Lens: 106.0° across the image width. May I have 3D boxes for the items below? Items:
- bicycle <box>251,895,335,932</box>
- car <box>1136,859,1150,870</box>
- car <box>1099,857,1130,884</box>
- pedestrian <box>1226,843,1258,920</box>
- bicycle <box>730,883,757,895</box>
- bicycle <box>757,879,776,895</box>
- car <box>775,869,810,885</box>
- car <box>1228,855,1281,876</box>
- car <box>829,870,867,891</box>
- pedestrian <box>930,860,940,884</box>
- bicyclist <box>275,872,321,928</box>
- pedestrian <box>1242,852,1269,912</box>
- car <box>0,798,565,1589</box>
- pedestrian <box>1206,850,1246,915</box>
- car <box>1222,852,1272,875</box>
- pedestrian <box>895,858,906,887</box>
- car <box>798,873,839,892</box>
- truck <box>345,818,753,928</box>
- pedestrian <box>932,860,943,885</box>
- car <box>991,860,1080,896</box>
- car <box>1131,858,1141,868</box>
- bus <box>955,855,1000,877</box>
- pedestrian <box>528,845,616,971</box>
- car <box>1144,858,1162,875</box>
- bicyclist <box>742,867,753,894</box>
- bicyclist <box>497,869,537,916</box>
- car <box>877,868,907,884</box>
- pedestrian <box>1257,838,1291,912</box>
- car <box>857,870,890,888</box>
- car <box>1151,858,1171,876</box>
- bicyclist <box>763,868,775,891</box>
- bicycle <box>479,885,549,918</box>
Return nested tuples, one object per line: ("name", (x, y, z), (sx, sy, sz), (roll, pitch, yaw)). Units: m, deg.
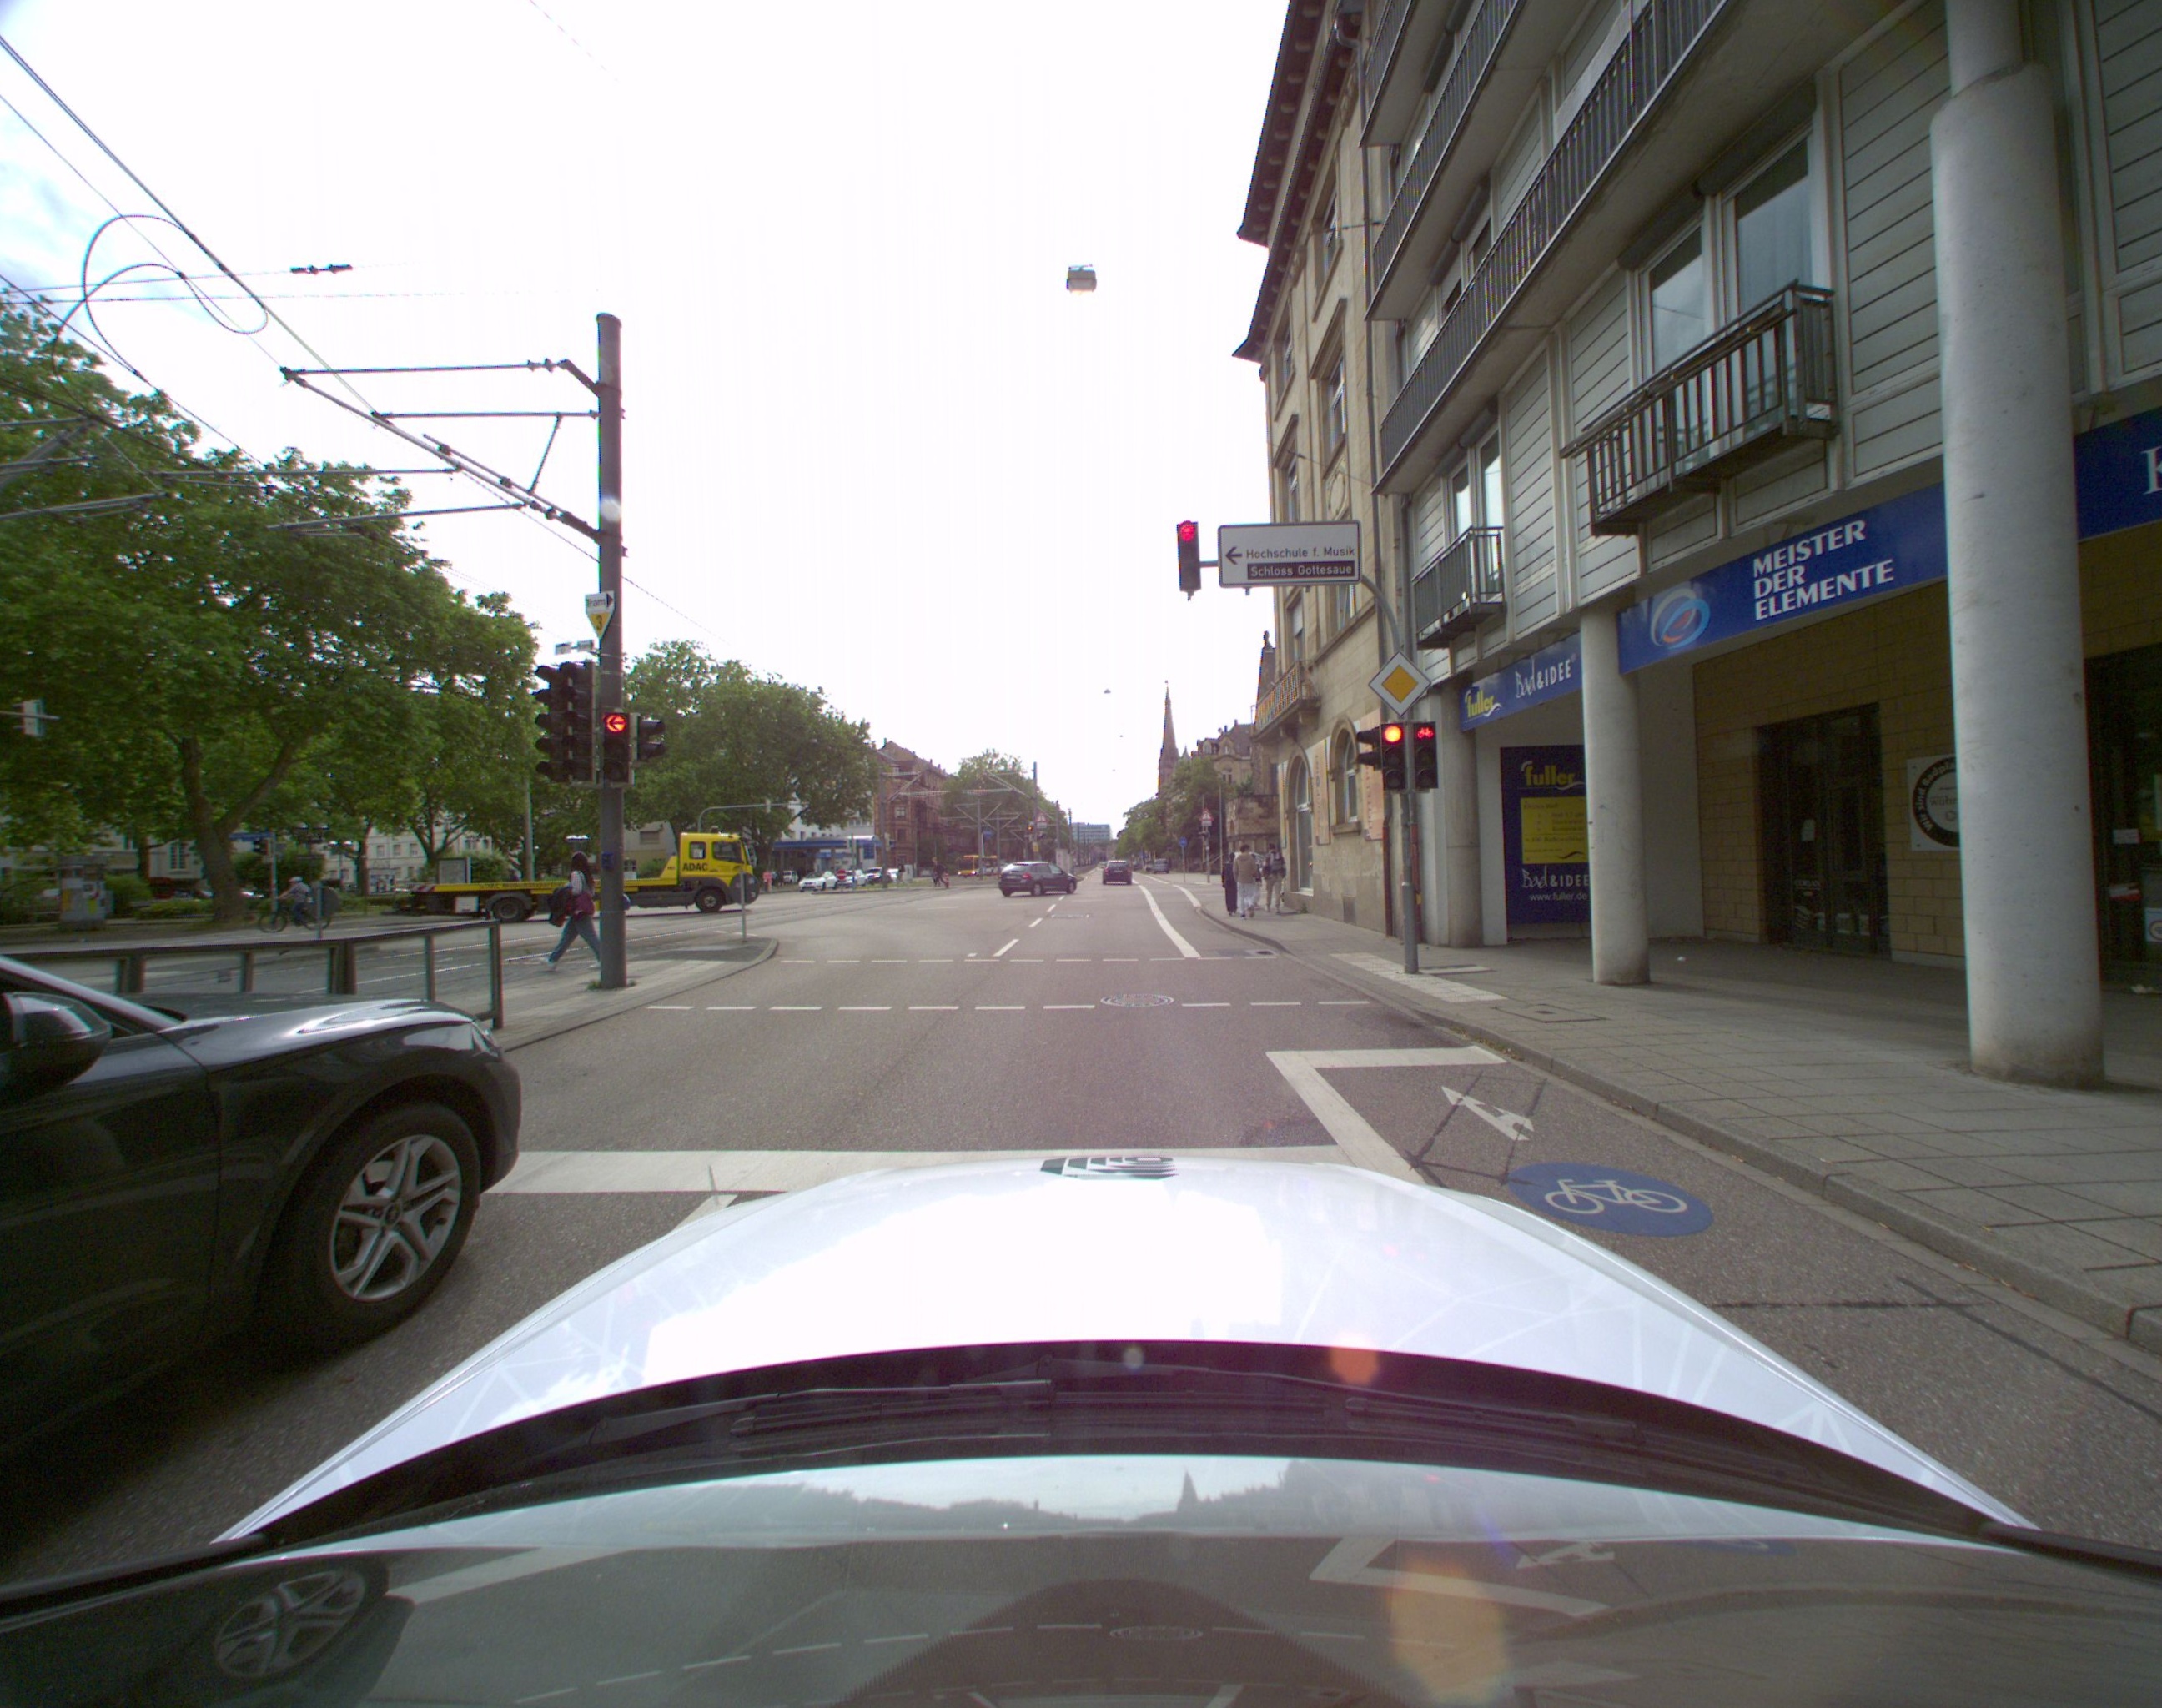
("bicycle", (-26.421, 1.991, 27.346), (1.910, 1.142, 0.623), (0, -1, -28))
("car", (9.708, 1.670, 128.443), (1.986, 1.607, 4.165), (-3, -1, 1))
("car", (2.046, 0.986, 50.043), (1.799, 1.586, 4.342), (0, -1, 2))
("pedestrian", (3.865, 0.646, 19.538), (0.578, 1.813, 1.020), (0, -1, 21))
("bicycle", (-22.870, 2.382, 55.218), (1.665, 0.773, 0.659), (-1, -1, 22))
("bicycle", (-21.477, 2.251, 55.669), (0.520, 1.017, 1.937), (0, -1, 2))
("car", (-28.751, 2.289, 81.321), (1.986, 1.530, 4.001), (0, -1, 2))
("car", (13.747, 0.891, 64.732), (3.785, 1.601, 2.001), (0, -1, 1))
("car", (-18.820, 2.134, 65.935), (1.887, 1.557, 3.837), (0, -1, 2))
("pedestrian", (-9.437, 1.165, 52.592), (0.544, 1.537, 0.465), (0, -1, -3))
("bicyclist", (-26.320, 1.528, 27.392), (0.970, 1.819, 0.527), (0, -1, -27))
("pedestrian", (4.789, 0.760, 22.412), (0.696, 1.593, 0.833), (0, -1, 10))
("car", (-3.144, 0.697, 1.236), (1.873, 1.601, 4.358), (-1, -1, 1))
("pedestrian", (3.798, 0.723, 21.305), (0.620, 1.653, 1.003), (-1, -1, 39))
("car", (13.857, 0.773, 68.144), (3.785, 1.904, 2.001), (0, -1, 1))
("pedestrian", (-11.004, 1.129, 49.619), (0.571, 1.794, 0.518), (0, -1, -3))
("car", (-19.150, 2.076, 59.555), (1.628, 1.325, 4.001), (0, -1, 2))
("truck", (-15.853, 0.475, 25.421), (10.205, 2.941, 2.613), (0, -1, -28))
("pedestrian", (-9.168, 1.182, 52.012), (0.651, 1.537, 0.465), (0, -1, -3))
("car", (-1.884, 0.988, 34.866), (1.817, 1.469, 4.018), (-1, -1, 33))
("car", (11.553, 1.882, 172.373), (1.986, 2.014, 4.001), (0, -1, 2))
("bus", (-15.212, 1.735, 121.412), (3.066, 3.112, 13.126), (0, -1, 9))
("pedestrian", (-7.115, 0.726, 11.393), (0.663, 1.680, 0.874), (-1, -1, 40))
("car", (8.820, 1.544, 99.630), (1.986, 2.014, 4.001), (0, -1, 1))
("bicyclist", (-22.634, 1.805, 55.233), (0.528, 1.784, 0.472), (-1, -1, 21))
("bicyclist", (-20.587, 1.388, 29.744), (1.041, 1.683, 0.641), (0, -1, -19))
("car", (-18.494, 2.132, 79.747), (1.887, 1.557, 3.837), (0, -1, 2))
("pedestrian", (4.878, 0.525, 20.633), (0.622, 1.778, 1.137), (-4, -2, 9))
("car", (-18.557, 2.217, 72.909), (1.887, 1.557, 3.837), (0, -1, 2))
("car", (8.802, 1.427, 90.014), (1.986, 2.014, 4.001), (0, -1, 1))
("bicyclist", (-21.469, 1.763, 55.978), (0.585, 1.568, 0.619), (0, -1, 1))
("bicycle", (-20.664, 1.733, 29.732), (1.943, 1.136, 0.731), (0, -1, -19))
